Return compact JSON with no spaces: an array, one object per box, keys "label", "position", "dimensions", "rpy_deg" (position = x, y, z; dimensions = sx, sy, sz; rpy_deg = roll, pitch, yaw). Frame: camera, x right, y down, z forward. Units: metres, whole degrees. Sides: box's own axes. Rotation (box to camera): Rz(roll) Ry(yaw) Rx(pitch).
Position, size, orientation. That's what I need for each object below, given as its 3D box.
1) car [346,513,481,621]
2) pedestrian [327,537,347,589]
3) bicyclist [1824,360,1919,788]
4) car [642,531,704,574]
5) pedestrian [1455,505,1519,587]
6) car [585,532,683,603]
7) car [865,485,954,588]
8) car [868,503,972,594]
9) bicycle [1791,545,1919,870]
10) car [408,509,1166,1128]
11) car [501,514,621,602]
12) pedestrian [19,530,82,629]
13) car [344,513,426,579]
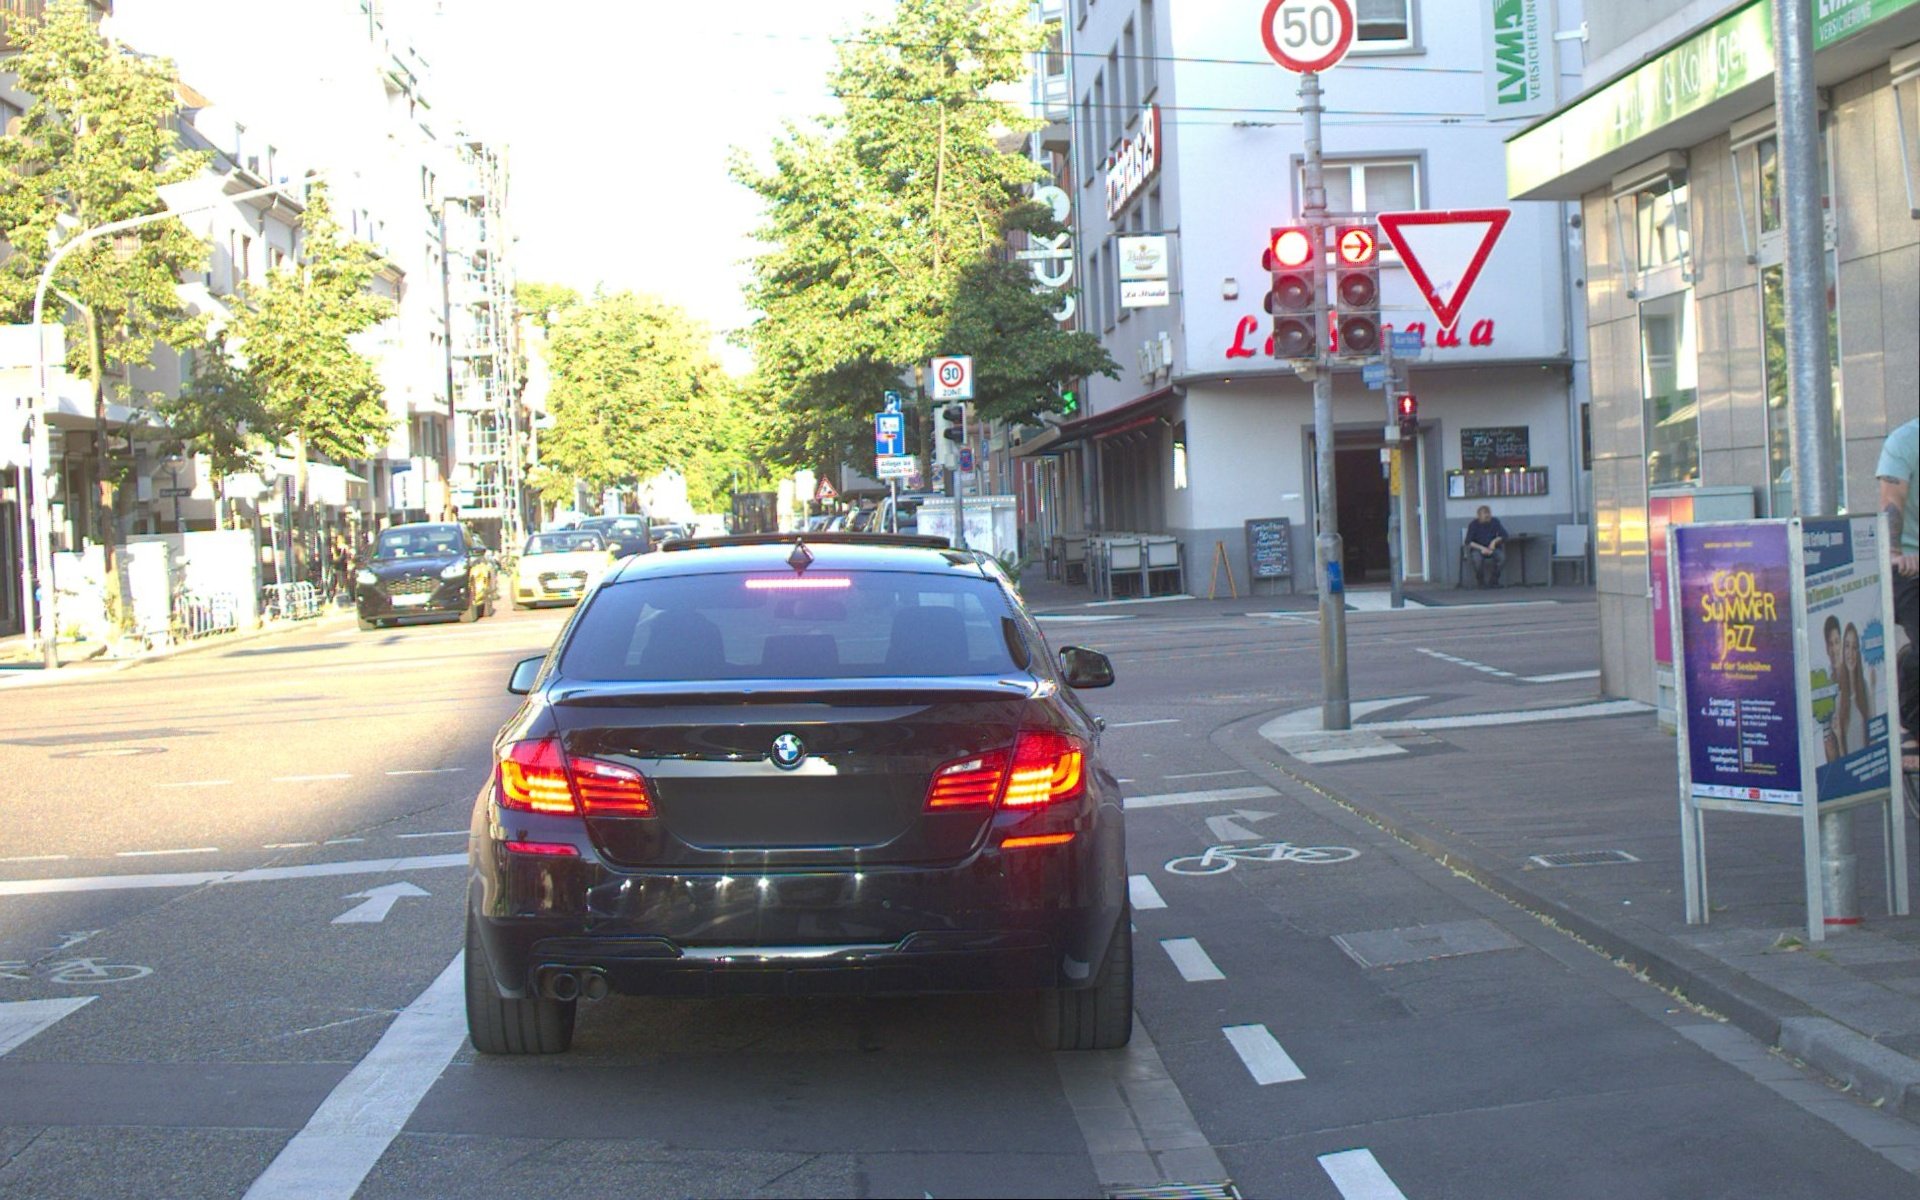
[{"label":"car","position":[-8.808,-0.562,55.631],"dimensions":[1.993,1.612,4.001],"rpy_deg":[-2,1,-8]},{"label":"pedestrian","position":[-17.169,-1.018,94.748],"dimensions":[0.444,1.411,0.525],"rpy_deg":[-2,1,-4]},{"label":"bicyclist","position":[3.655,-0.114,12.554],"dimensions":[0.722,1.502,0.900],"rpy_deg":[-2,1,0]},{"label":"car","position":[-9.264,-1.556,110.690],"dimensions":[1.733,1.288,4.001],"rpy_deg":[-2,1,-8]},{"label":"pedestrian","position":[7.624,-0.784,49.761],"dimensions":[0.697,1.153,0.844],"rpy_deg":[-2,1,-3]},{"label":"car","position":[-6.460,-0.672,67.868],"dimensions":[1.733,1.288,4.001],"rpy_deg":[-2,1,-8]},{"label":"car","position":[-0.966,-1.187,64.428],"dimensions":[1.421,1.848,3.053],"rpy_deg":[-1,1,-5]},{"label":"car","position":[-0.696,-0.873,58.033],"dimensions":[1.625,1.466,3.395],"rpy_deg":[-1,1,-2]},{"label":"bicycle","position":[3.662,0.364,12.616],"dimensions":[0.690,1.103,1.896],"rpy_deg":[-2,1,-1]},{"label":"car","position":[-0.550,0.494,10.957],"dimensions":[1.903,1.535,4.450],"rpy_deg":[-1,2,-3]},{"label":"car","position":[-7.128,-0.768,61.088],"dimensions":[1.993,1.437,4.001],"rpy_deg":[-2,1,-8]},{"label":"pedestrian","position":[-15.839,-0.363,59.912],"dimensions":[0.823,1.670,0.871],"rpy_deg":[-2,1,-3]},{"label":"car","position":[-13.755,-1.304,82.410],"dimensions":[1.733,1.456,4.001],"rpy_deg":[-2,1,-8]}]
